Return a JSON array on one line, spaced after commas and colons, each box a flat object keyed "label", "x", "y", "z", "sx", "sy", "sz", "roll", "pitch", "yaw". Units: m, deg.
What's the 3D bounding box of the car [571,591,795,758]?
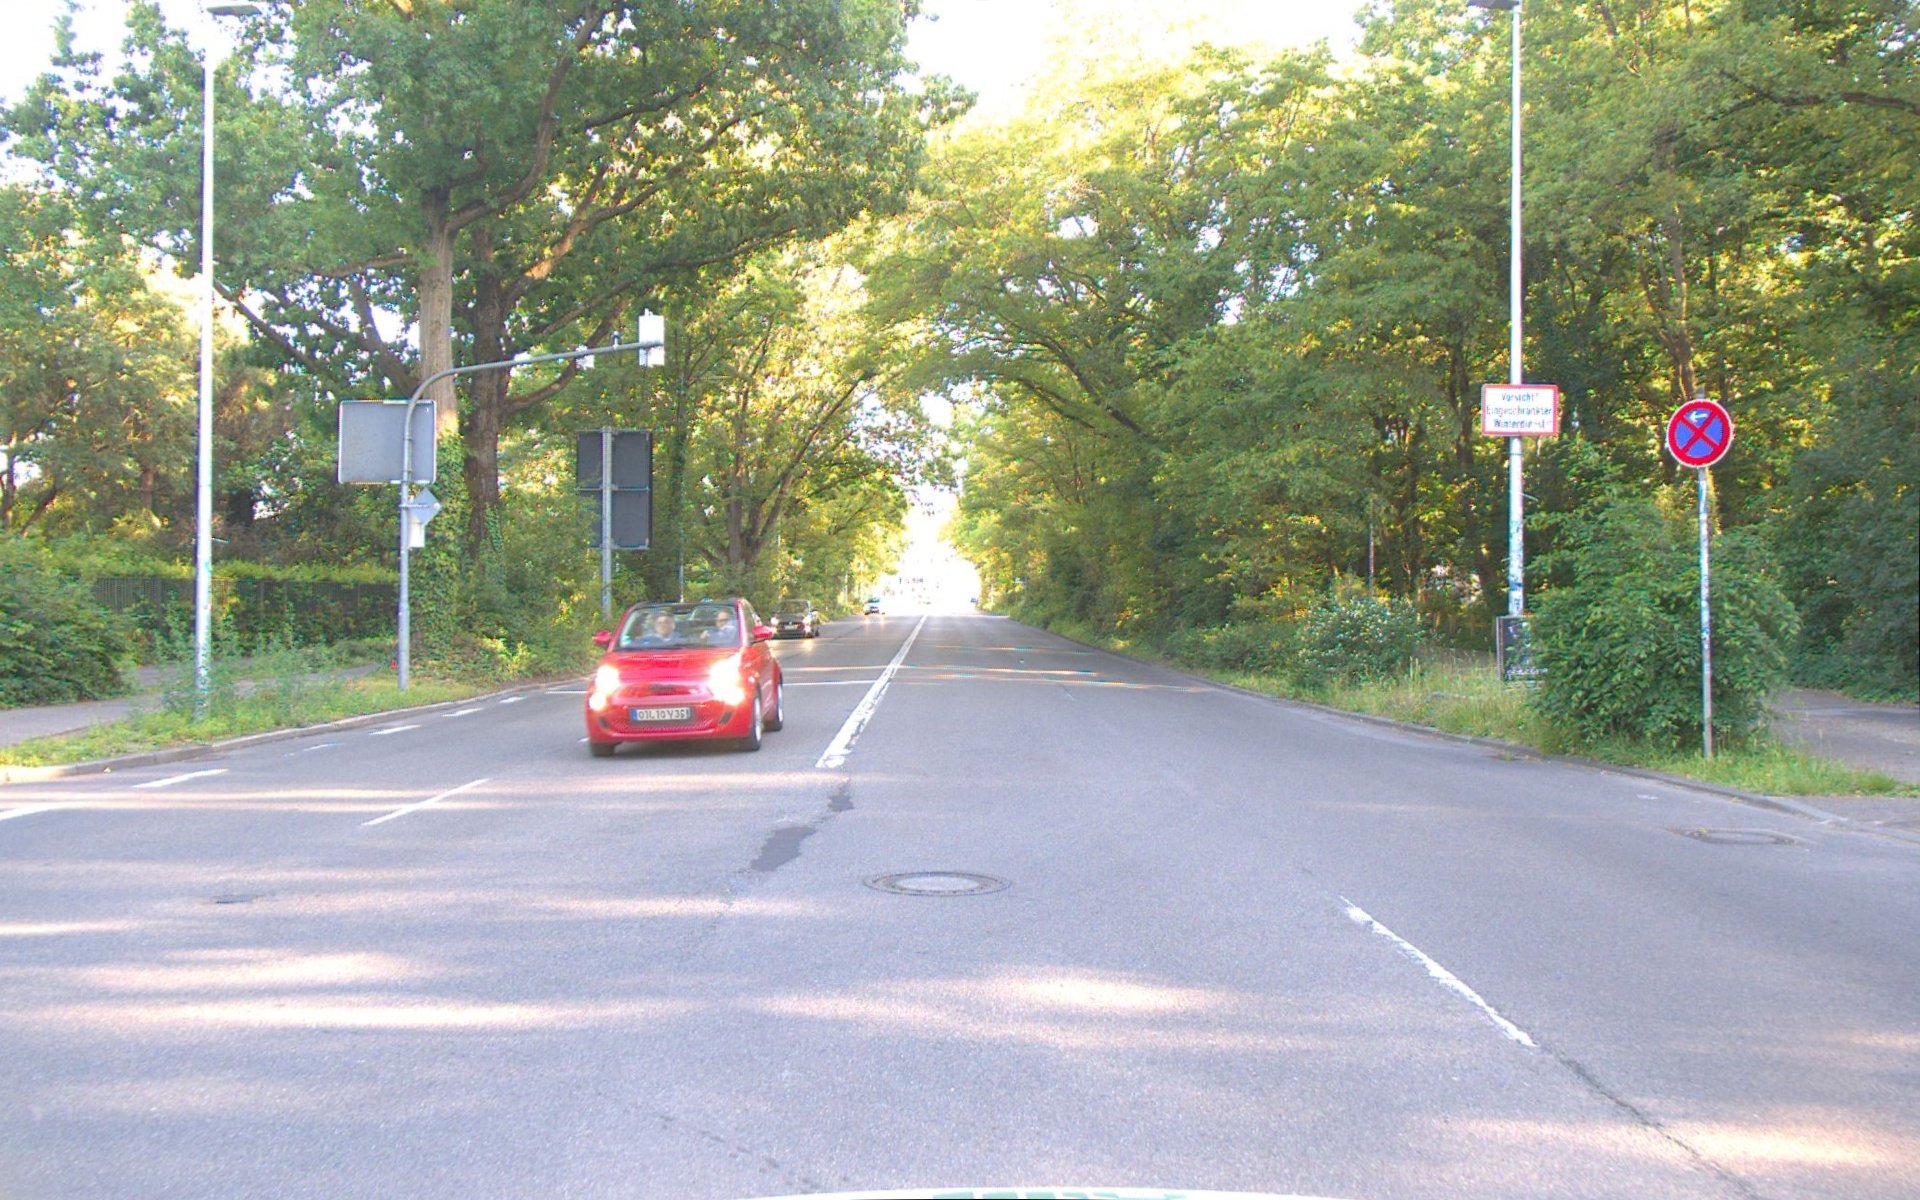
[{"label": "car", "x": -2.752, "y": 0.719, "z": 17.198, "sx": 1.715, "sy": 1.482, "sz": 3.639, "roll": -2, "pitch": -1, "yaw": -1}]

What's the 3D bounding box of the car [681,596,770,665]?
[{"label": "car", "x": -5.783, "y": 0.711, "z": 41.105, "sx": 1.643, "sy": 1.550, "sz": 3.901, "roll": -2, "pitch": 0, "yaw": -1}]

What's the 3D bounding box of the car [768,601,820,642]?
[{"label": "car", "x": -6.448, "y": 0.810, "z": 64.486, "sx": 1.673, "sy": 1.478, "sz": 3.639, "roll": -2, "pitch": 0, "yaw": -1}]

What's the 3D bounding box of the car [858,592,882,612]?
[{"label": "car", "x": -7.378, "y": 0.153, "z": 136.015, "sx": 1.770, "sy": 1.607, "sz": 4.318, "roll": -2, "pitch": 0, "yaw": -1}]
